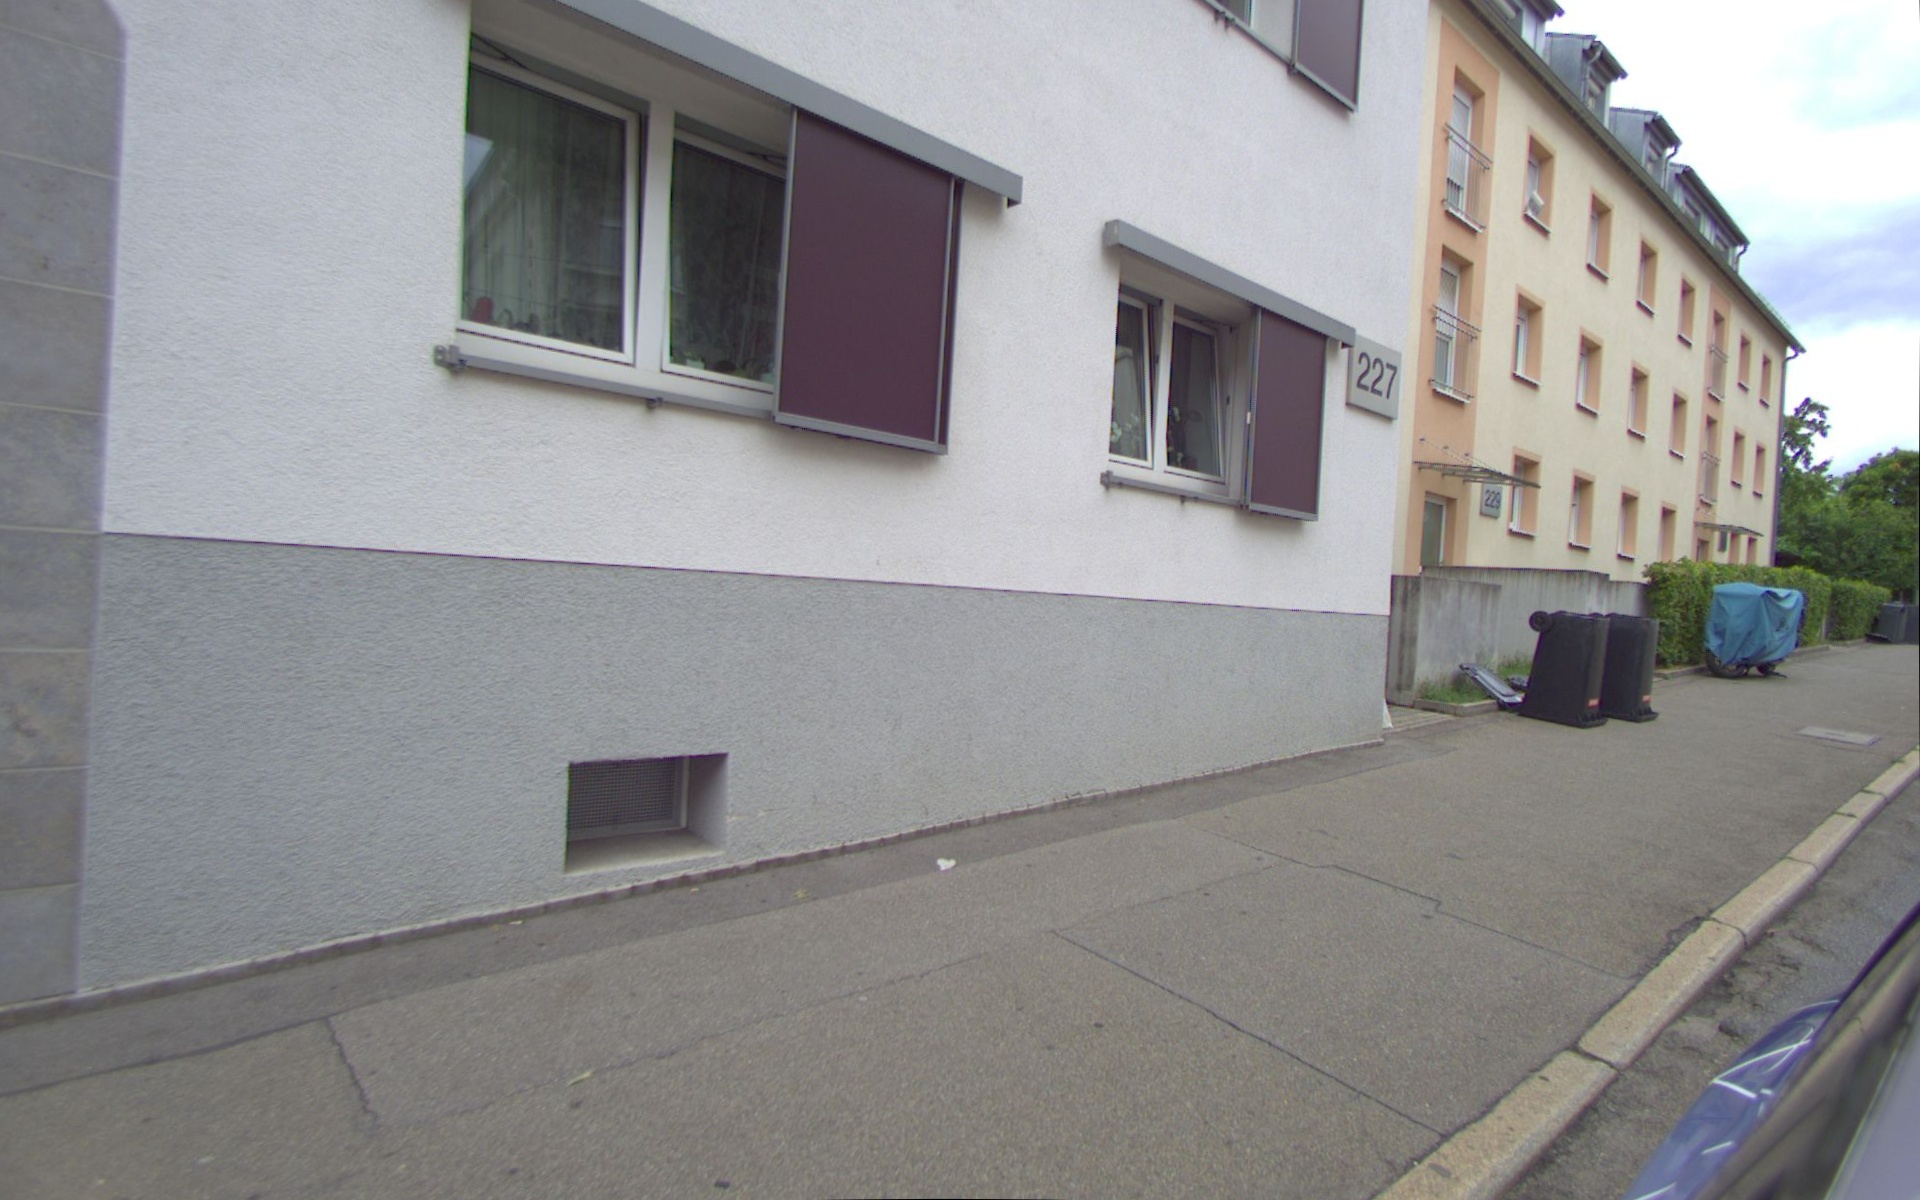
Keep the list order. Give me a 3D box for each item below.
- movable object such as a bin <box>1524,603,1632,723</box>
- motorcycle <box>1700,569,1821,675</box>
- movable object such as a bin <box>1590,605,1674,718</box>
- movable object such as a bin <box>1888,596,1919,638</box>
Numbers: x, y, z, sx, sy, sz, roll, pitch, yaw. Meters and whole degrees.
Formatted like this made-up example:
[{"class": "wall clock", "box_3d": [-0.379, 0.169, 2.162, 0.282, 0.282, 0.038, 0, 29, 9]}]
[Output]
[{"class": "movable object such as a bin", "box_3d": [5.807, 0.572, 9.516, 0.592, 1.021, 0.638, 1, 4, -40]}, {"class": "motorcycle", "box_3d": [11.709, 0.307, 14.785, 1.899, 1.406, 0.733, 1, 5, -34]}, {"class": "movable object such as a bin", "box_3d": [6.662, 0.588, 10.031, 0.563, 1.021, 0.491, 6, 4, 41]}, {"class": "movable object such as a bin", "box_3d": [24.338, 0.431, 26.008, 0.530, 1.072, 0.669, 1, 0, -40]}]
